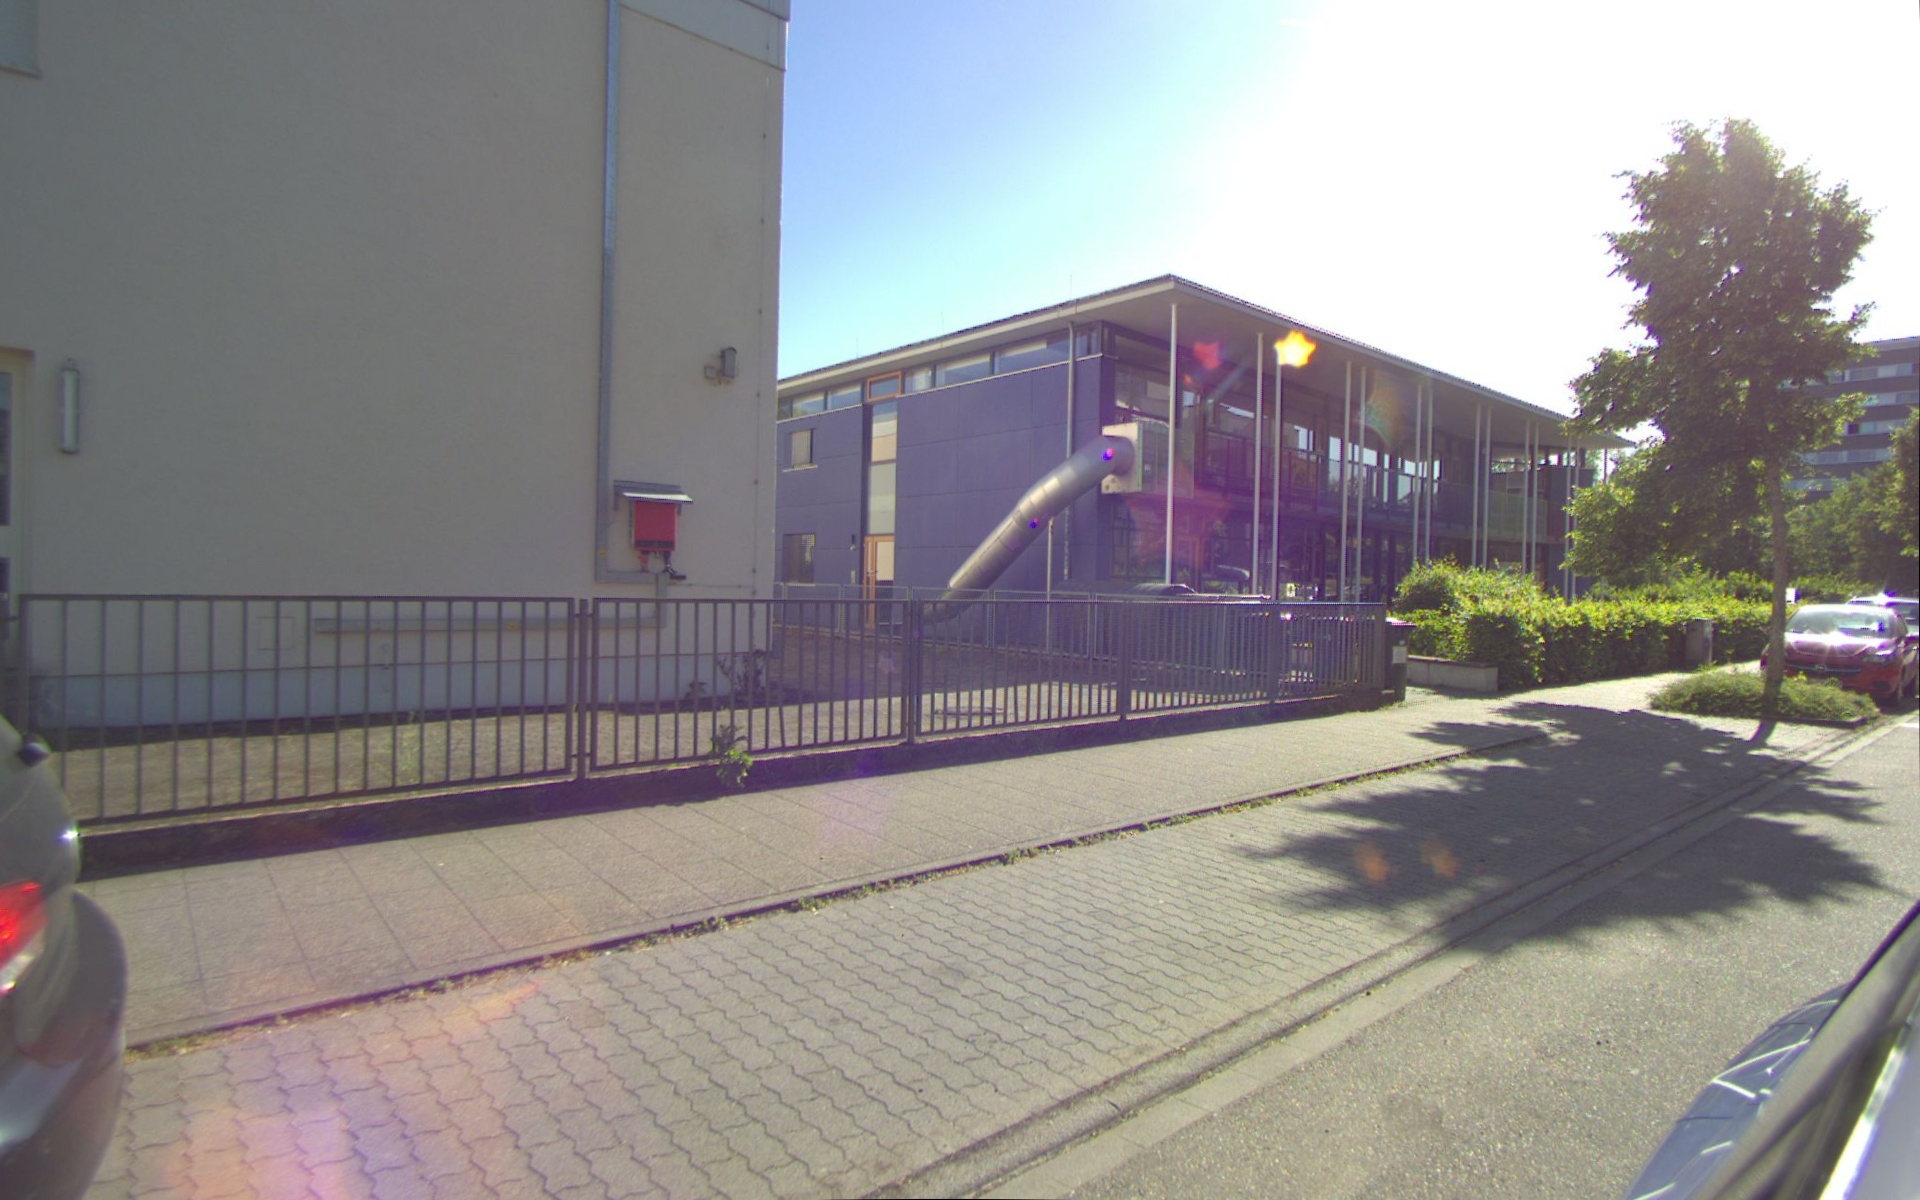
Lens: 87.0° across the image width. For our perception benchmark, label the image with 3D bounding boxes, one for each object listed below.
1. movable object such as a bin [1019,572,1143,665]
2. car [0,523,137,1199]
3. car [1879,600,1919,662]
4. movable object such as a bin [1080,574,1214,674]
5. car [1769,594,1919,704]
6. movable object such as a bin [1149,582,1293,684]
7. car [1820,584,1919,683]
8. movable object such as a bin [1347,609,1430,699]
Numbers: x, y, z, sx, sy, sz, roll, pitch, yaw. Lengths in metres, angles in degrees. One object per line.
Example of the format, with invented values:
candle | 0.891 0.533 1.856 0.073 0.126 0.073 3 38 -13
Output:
movable object such as a bin | 2.048 0.284 17.115 1.602 1.466 1.333 1 1 -40
car | -3.249 0.618 0.808 3.931 1.535 1.786 1 2 -42
car | 23.719 0.755 24.396 4.697 1.335 1.965 0 4 -44
movable object such as a bin | 2.973 0.349 16.068 1.602 1.466 1.369 1 1 -40
car | 14.490 0.701 16.286 3.780 1.522 1.678 1 1 -42
movable object such as a bin | 3.847 0.443 14.935 1.602 1.374 1.369 1 1 -40
car | 18.551 0.606 19.780 4.333 1.703 1.905 0 3 -40
movable object such as a bin | 5.501 0.670 12.986 0.962 1.083 0.633 0 1 -41
